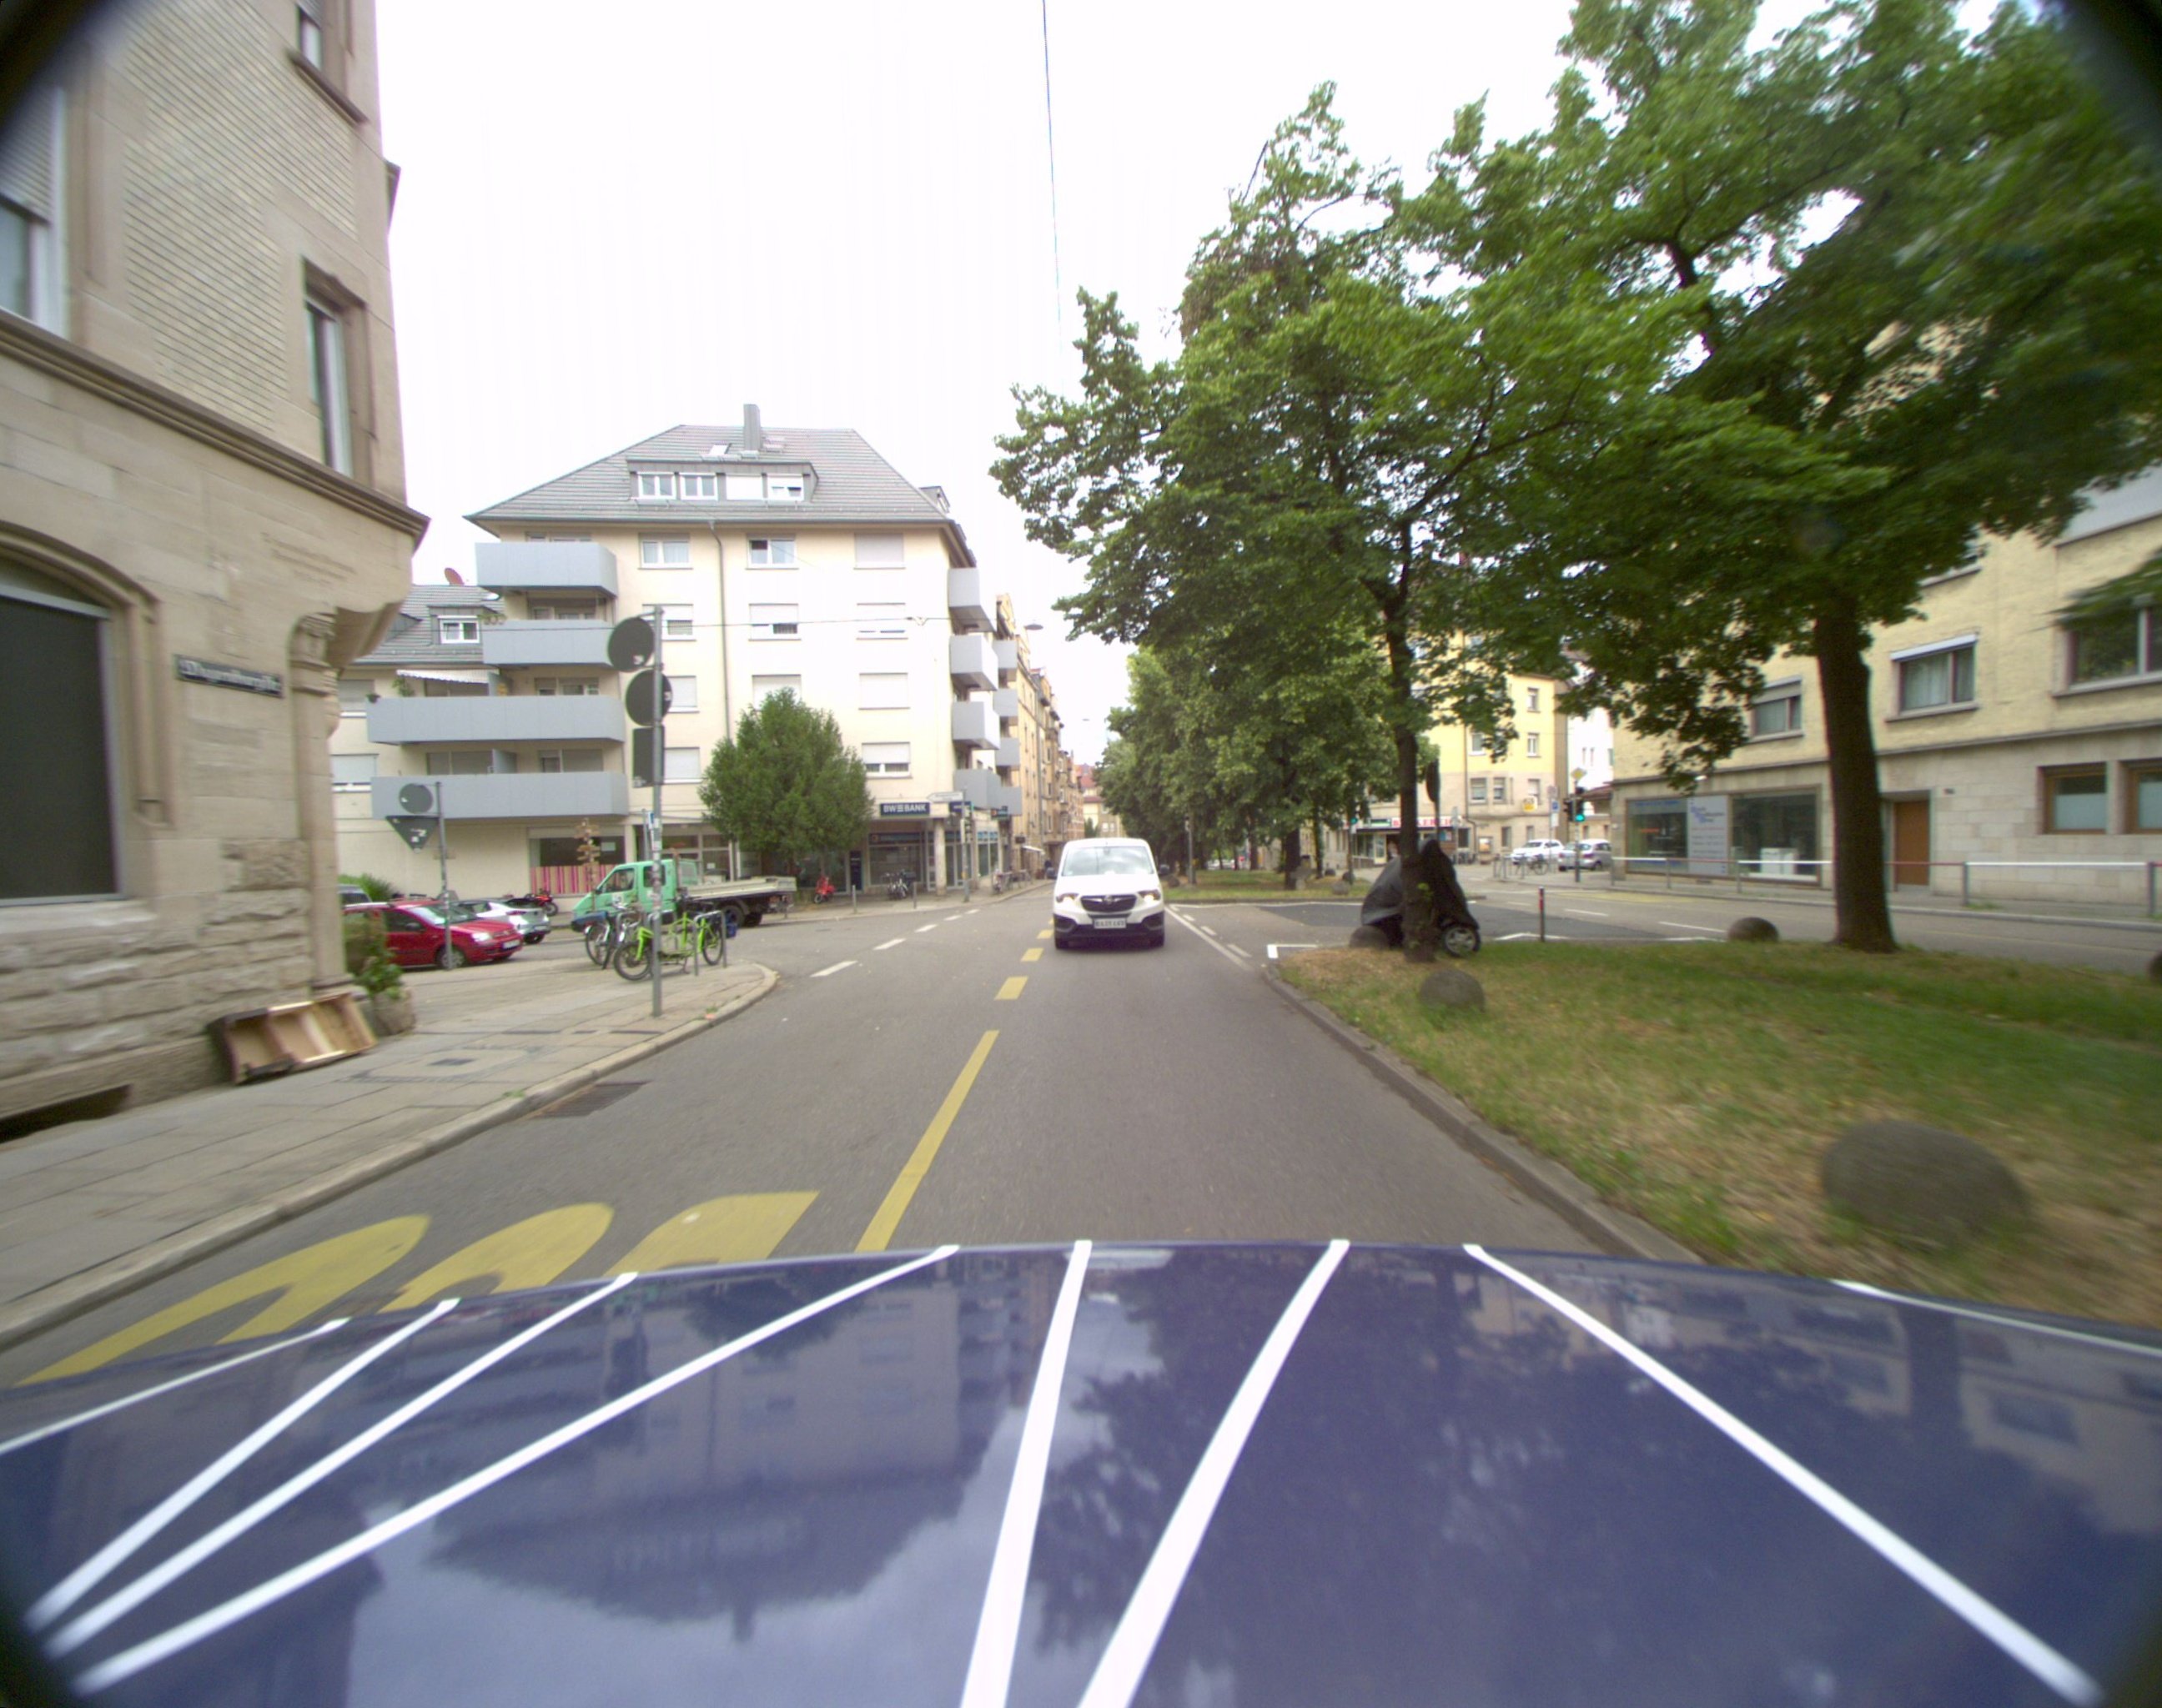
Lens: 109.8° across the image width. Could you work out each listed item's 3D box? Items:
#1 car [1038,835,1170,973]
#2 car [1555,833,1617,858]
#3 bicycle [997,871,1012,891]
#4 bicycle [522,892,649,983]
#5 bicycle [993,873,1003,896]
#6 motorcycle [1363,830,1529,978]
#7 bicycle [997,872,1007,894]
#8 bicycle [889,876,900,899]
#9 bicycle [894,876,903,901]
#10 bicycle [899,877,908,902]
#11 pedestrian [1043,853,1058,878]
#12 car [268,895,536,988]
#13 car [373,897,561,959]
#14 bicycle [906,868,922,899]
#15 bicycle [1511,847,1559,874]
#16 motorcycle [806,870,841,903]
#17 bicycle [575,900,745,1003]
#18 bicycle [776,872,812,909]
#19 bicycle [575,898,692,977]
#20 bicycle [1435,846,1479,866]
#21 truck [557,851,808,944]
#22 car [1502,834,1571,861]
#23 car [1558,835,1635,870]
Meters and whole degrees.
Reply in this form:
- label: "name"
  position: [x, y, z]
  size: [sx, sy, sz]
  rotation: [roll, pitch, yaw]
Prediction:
- label: "car"
  position: [0.412, 0.662, 12.574]
  size: [1.745, 1.831, 4.343]
  rotation: [-2, 1, 2]
- label: "car"
  position: [33.239, -0.567, 49.976]
  size: [3.518, 1.533, 1.860]
  rotation: [-3, 1, -26]
- label: "bicycle"
  position: [-3.601, 1.272, 35.882]
  size: [0.442, 0.902, 1.285]
  rotation: [-3, 0, 6]
- label: "bicycle"
  position: [-8.417, 1.363, 13.054]
  size: [0.459, 1.269, 2.386]
  rotation: [-3, 0, 2]
- label: "bicycle"
  position: [-3.602, 1.315, 33.042]
  size: [0.154, 0.902, 1.285]
  rotation: [-3, 0, 6]
- label: "motorcycle"
  position: [4.258, 0.562, 9.167]
  size: [0.825, 1.521, 2.625]
  rotation: [0, -2, 3]
- label: "bicycle"
  position: [-3.437, 1.267, 33.051]
  size: [0.154, 0.902, 1.285]
  rotation: [-3, 0, 6]
- label: "bicycle"
  position: [-7.588, 1.364, 30.941]
  size: [0.184, 0.902, 1.236]
  rotation: [-3, 0, -6]
- label: "bicycle"
  position: [-7.229, 1.365, 30.117]
  size: [0.141, 0.902, 1.249]
  rotation: [-2, 1, -6]
- label: "bicycle"
  position: [-7.009, 1.394, 29.968]
  size: [0.120, 0.902, 1.284]
  rotation: [-3, 0, -6]
- label: "pedestrian"
  position: [-2.487, 0.917, 61.844]
  size: [1.083, 2.002, 1.204]
  rotation: [-3, 0, 2]
- label: "car"
  position: [-14.355, 1.816, 16.254]
  size: [4.009, 1.485, 1.667]
  rotation: [-4, 0, -4]
- label: "car"
  position: [-17.163, 2.045, 21.378]
  size: [3.797, 1.368, 1.562]
  rotation: [-3, 0, -7]
- label: "bicycle"
  position: [-6.825, 1.209, 31.038]
  size: [0.400, 1.197, 1.284]
  rotation: [-4, 0, -6]
- label: "bicycle"
  position: [21.254, 0.327, 35.615]
  size: [0.684, 1.142, 2.057]
  rotation: [-4, -1, -10]
- label: "motorcycle"
  position: [-9.762, 1.209, 28.884]
  size: [0.591, 1.190, 1.931]
  rotation: [0, 0, 2]
- label: "bicycle"
  position: [-5.872, 1.292, 10.892]
  size: [0.683, 1.142, 2.941]
  rotation: [-2, -1, 2]
- label: "bicycle"
  position: [-10.721, 1.347, 28.399]
  size: [0.439, 1.248, 1.884]
  rotation: [-3, 0, 4]
- label: "bicycle"
  position: [-7.669, 1.394, 13.159]
  size: [0.683, 1.142, 2.059]
  rotation: [-4, -1, 2]
- label: "bicycle"
  position: [23.503, 0.121, 47.539]
  size: [2.345, 1.094, 0.775]
  rotation: [-3, 1, 20]
- label: "truck"
  position: [-11.395, 1.232, 22.213]
  size: [5.858, 2.094, 2.553]
  rotation: [-4, -1, -6]
- label: "car"
  position: [28.779, -0.421, 48.015]
  size: [3.812, 1.533, 1.979]
  rotation: [-2, 1, -26]
- label: "car"
  position: [25.747, -0.078, 37.949]
  size: [3.646, 1.532, 1.686]
  rotation: [-2, -1, -29]
